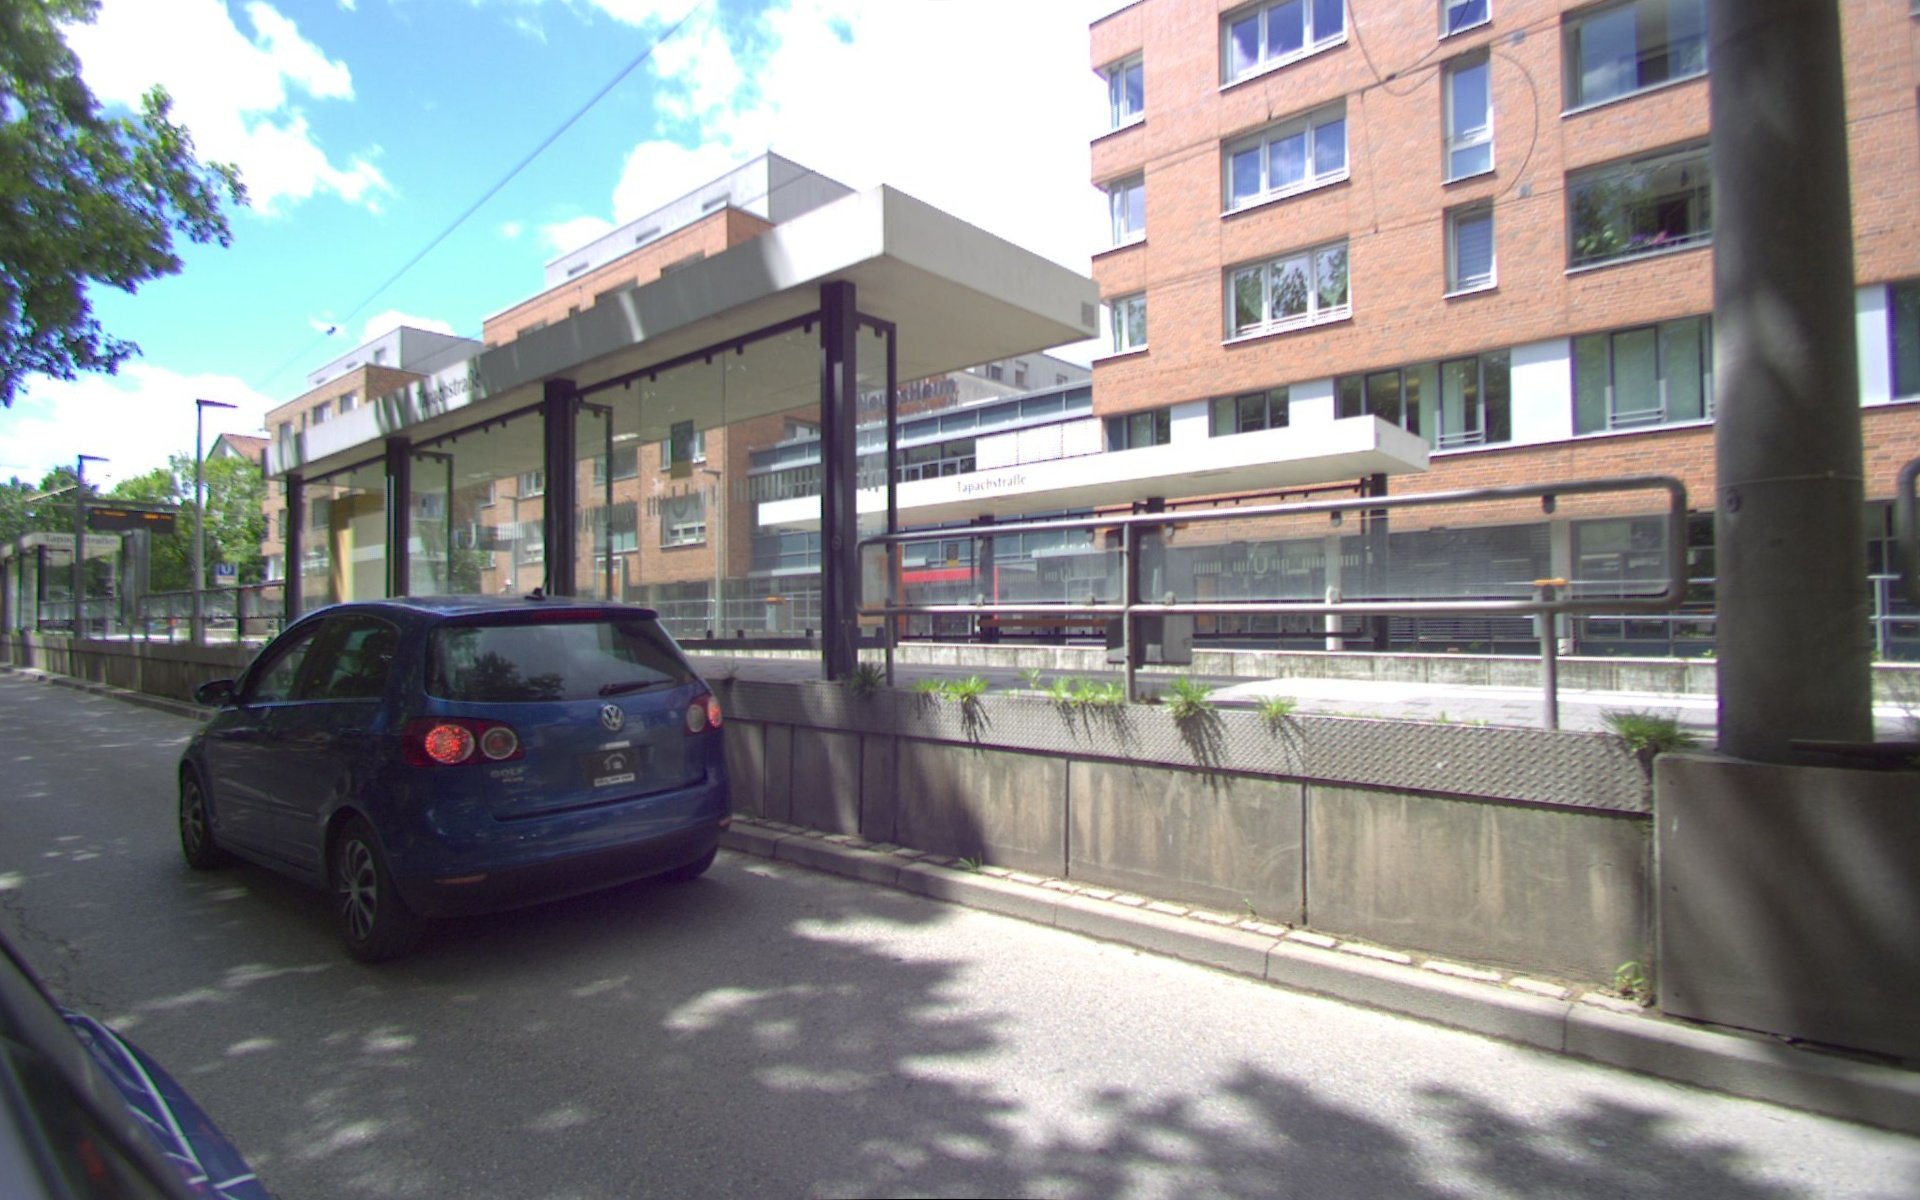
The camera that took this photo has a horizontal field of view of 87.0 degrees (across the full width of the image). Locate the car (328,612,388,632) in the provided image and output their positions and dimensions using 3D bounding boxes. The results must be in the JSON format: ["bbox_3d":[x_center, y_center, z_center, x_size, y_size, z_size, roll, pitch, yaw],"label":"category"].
[{"bbox_3d":[-45.033,1.676,75.778,1.592,1.410,3.497,-2,-3,38],"label":"car"}]

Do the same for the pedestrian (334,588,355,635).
[{"bbox_3d":[-23.717,0.449,38.990,0.527,1.777,0.529,-1,-2,38],"label":"pedestrian"}]

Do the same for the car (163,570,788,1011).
[{"bbox_3d":[-2.834,0.704,5.532,3.858,1.576,1.679,-1,-1,41],"label":"car"}]

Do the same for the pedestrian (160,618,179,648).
[{"bbox_3d":[-48.246,2.007,61.738,0.828,1.839,0.736,-2,-3,39],"label":"pedestrian"}]

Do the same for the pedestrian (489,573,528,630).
[{"bbox_3d":[-13.208,0.042,29.608,0.815,1.641,0.743,-2,-1,41],"label":"pedestrian"}]
